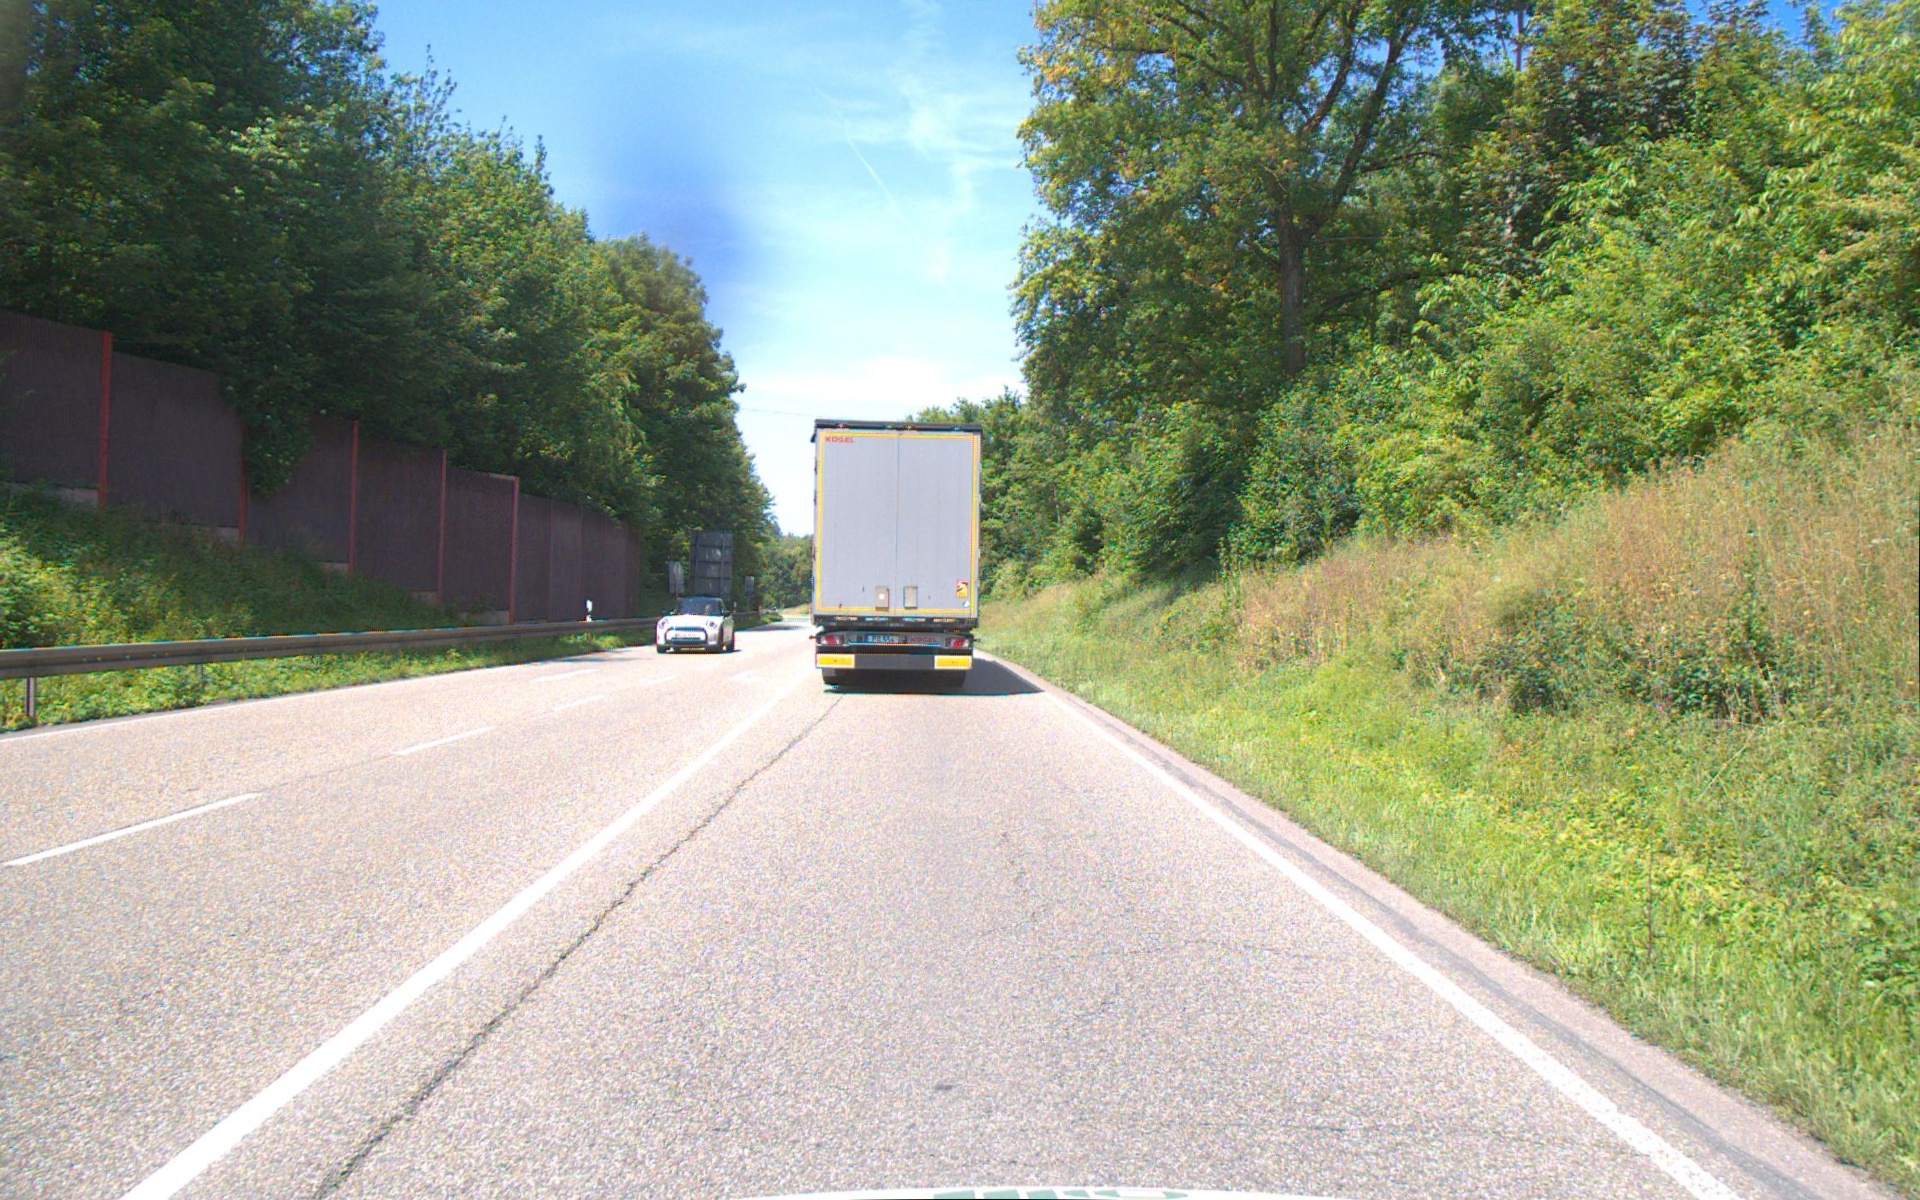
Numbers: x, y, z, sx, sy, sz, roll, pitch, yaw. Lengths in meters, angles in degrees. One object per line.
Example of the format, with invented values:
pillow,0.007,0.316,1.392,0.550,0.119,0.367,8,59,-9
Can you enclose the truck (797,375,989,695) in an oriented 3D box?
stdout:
truck,-1.112,-1.017,27.803,2.766,4.684,6.663,1,1,-2

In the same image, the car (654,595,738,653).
car,-6.968,0.604,43.906,1.770,1.460,3.869,0,0,-3
